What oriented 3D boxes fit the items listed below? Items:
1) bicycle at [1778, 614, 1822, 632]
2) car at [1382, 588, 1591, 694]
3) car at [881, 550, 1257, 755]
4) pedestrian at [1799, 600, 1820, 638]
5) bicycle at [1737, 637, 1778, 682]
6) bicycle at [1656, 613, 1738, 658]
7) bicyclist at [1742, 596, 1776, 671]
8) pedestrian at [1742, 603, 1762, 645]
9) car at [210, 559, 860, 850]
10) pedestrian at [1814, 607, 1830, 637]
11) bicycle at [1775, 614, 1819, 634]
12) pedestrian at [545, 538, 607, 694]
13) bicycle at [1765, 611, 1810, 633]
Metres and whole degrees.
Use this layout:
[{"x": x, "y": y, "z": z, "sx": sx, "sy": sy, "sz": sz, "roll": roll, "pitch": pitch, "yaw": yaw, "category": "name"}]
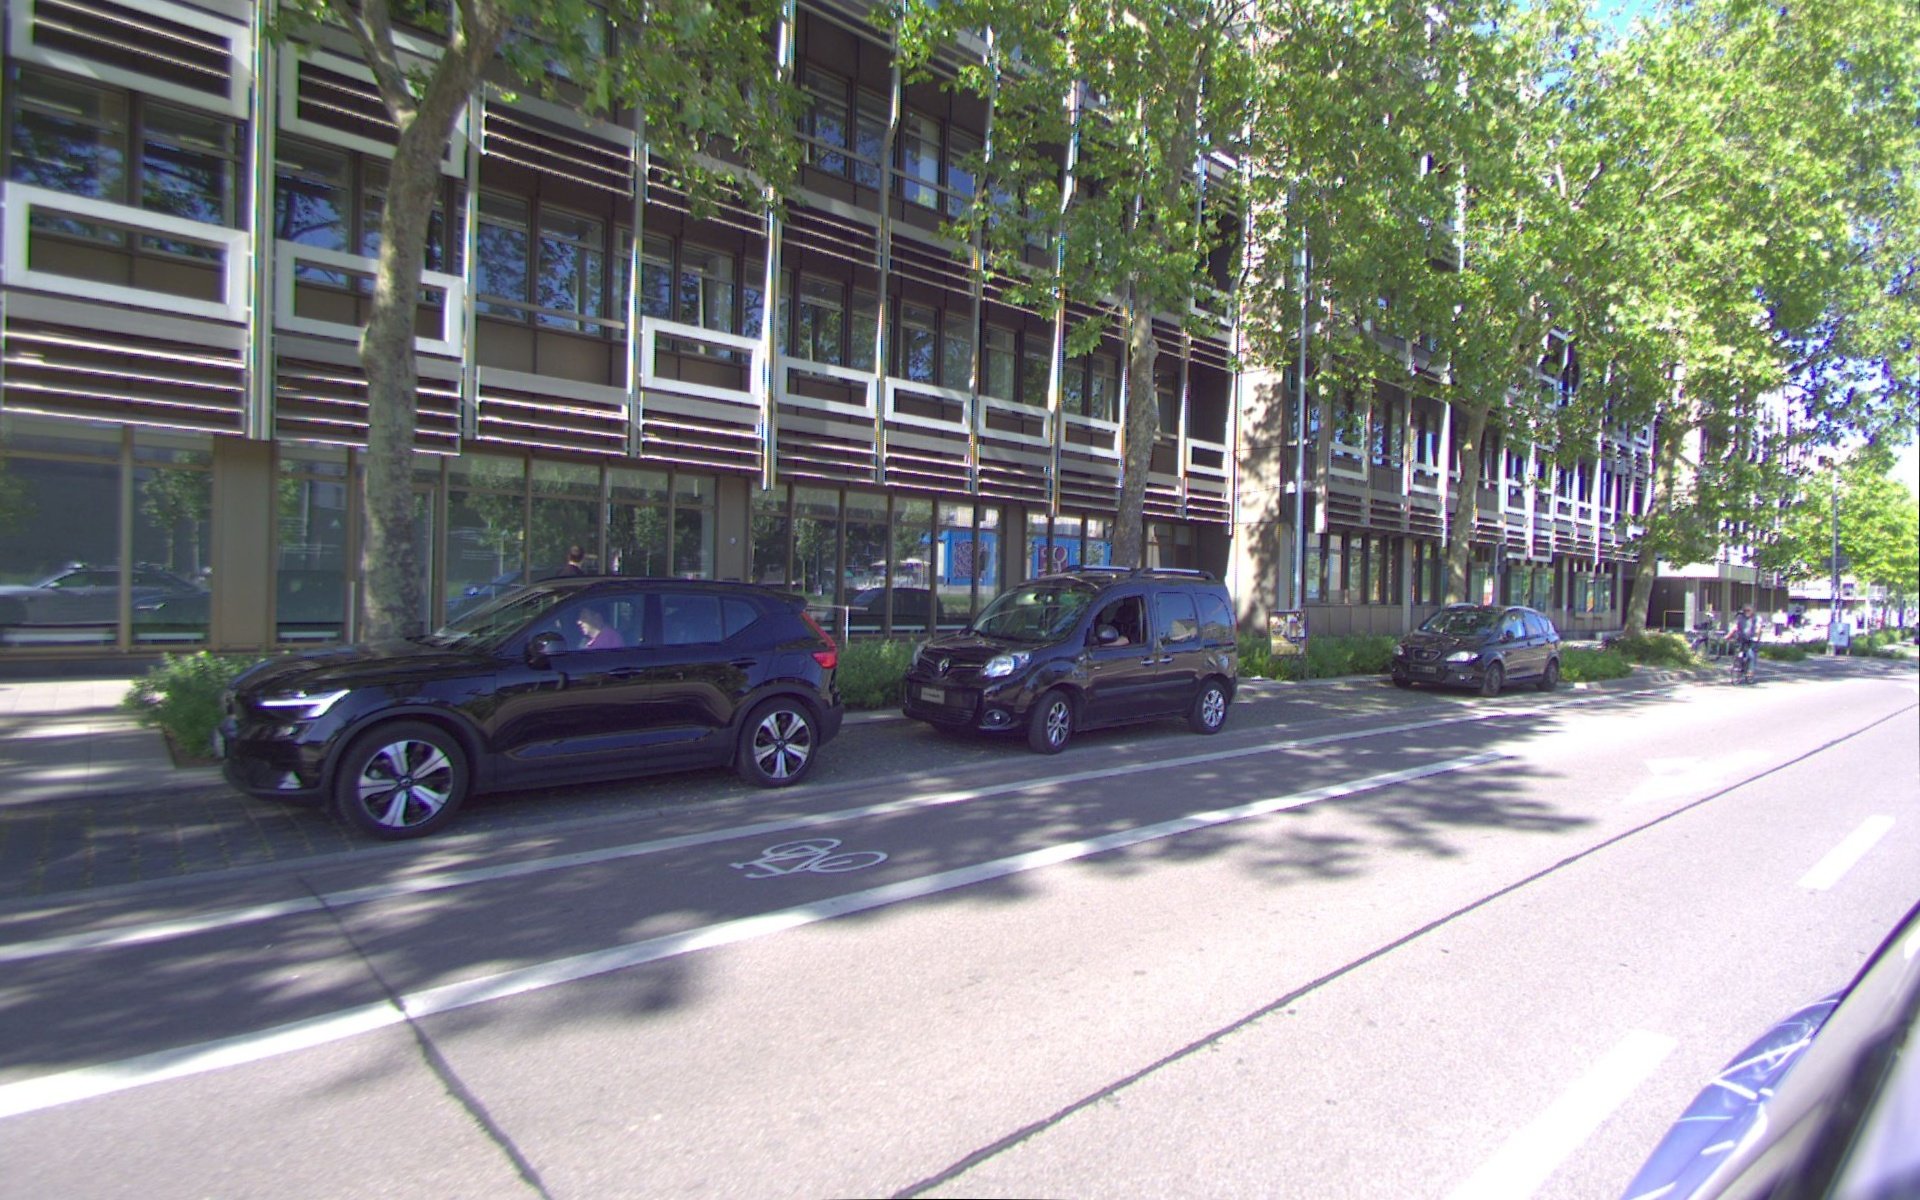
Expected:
[{"x": 49.098, "y": 1.333, "z": 59.169, "sx": 0.419, "sy": 0.950, "sz": 1.863, "roll": 1, "pitch": 3, "yaw": -39, "category": "bicycle"}, {"x": 9.795, "y": 0.705, "z": 18.685, "sx": 4.552, "sy": 1.663, "sz": 1.708, "roll": 1, "pitch": 2, "yaw": -39, "category": "car"}, {"x": 1.324, "y": 0.474, "z": 11.126, "sx": 4.118, "sy": 1.812, "sz": 1.708, "roll": 1, "pitch": 2, "yaw": -41, "category": "car"}, {"x": 39.564, "y": 0.892, "z": 47.126, "sx": 0.789, "sy": 1.750, "sz": 0.648, "roll": 1, "pitch": 0, "yaw": -42, "category": "pedestrian"}, {"x": 17.707, "y": 1.299, "z": 22.452, "sx": 0.497, "sy": 0.917, "sz": 2.161, "roll": -1, "pitch": -1, "yaw": 44, "category": "bicycle"}, {"x": 22.780, "y": 1.084, "z": 31.296, "sx": 0.569, "sy": 1.252, "sz": 1.939, "roll": 1, "pitch": 2, "yaw": -43, "category": "bicycle"}, {"x": 17.772, "y": 0.738, "z": 22.511, "sx": 0.513, "sy": 1.621, "sz": 0.528, "roll": 1, "pitch": 0, "yaw": 45, "category": "bicyclist"}, {"x": 33.678, "y": 1.018, "z": 43.031, "sx": 0.760, "sy": 1.722, "sz": 0.511, "roll": 1, "pitch": 0, "yaw": -42, "category": "pedestrian"}, {"x": -2.927, "y": 0.569, "z": 7.509, "sx": 4.118, "sy": 1.583, "sz": 1.707, "roll": 1, "pitch": 0, "yaw": -41, "category": "car"}, {"x": 44.770, "y": 1.137, "z": 52.571, "sx": 0.723, "sy": 1.493, "sz": 0.511, "roll": 1, "pitch": 0, "yaw": -42, "category": "pedestrian"}, {"x": 48.298, "y": 1.395, "z": 58.381, "sx": 0.419, "sy": 1.023, "sz": 1.863, "roll": 1, "pitch": 3, "yaw": -39, "category": "bicycle"}, {"x": -4.940, "y": 0.205, "z": 13.018, "sx": 0.547, "sy": 1.941, "sz": 0.678, "roll": 0, "pitch": -1, "yaw": -40, "category": "pedestrian"}, {"x": 47.019, "y": 1.257, "z": 57.506, "sx": 0.419, "sy": 1.111, "sz": 1.863, "roll": 1, "pitch": 3, "yaw": -39, "category": "bicycle"}]
